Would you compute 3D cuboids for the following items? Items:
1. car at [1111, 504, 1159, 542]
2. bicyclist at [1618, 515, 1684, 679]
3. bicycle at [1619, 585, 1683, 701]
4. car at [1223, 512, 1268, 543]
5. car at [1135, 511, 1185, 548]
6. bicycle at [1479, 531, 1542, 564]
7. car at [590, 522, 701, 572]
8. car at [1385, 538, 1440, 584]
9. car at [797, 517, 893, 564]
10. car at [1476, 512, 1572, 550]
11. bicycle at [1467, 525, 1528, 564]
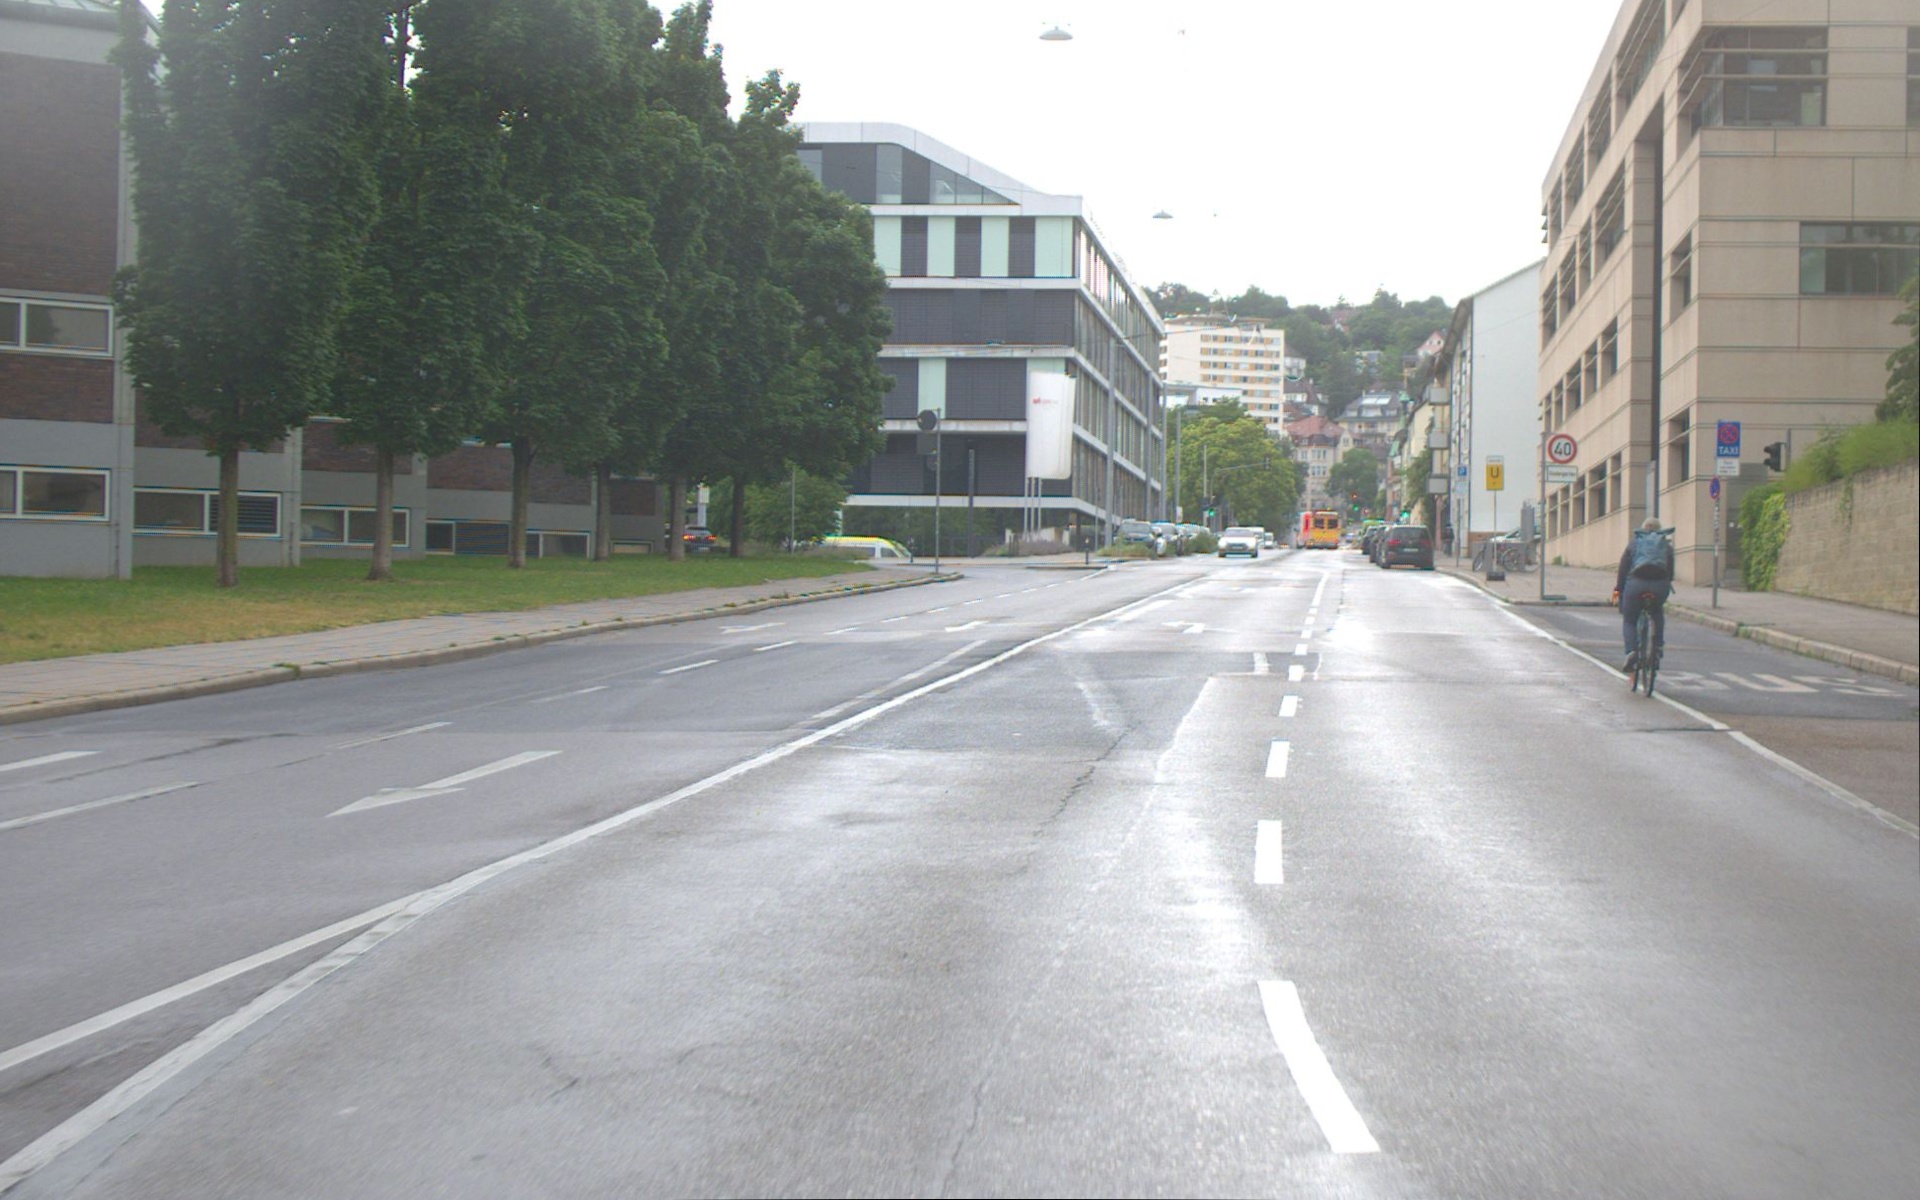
[{"bbox_3d":[7.926,-3.463,155.550,1.850,1.612,4.490,2,1,6],"label":"car"},{"bbox_3d":[6.163,-0.028,30.705,0.484,1.428,0.930,2,1,8],"label":"bicyclist"},{"bbox_3d":[6.165,0.368,30.714,0.447,0.960,1.689,1,2,8],"label":"bicycle"},{"bbox_3d":[14.520,-3.695,174.682,1.882,1.486,5.218,-1,1,9],"label":"car"},{"bbox_3d":[10.043,-3.515,172.260,1.963,1.744,4.940,2,1,9],"label":"car"},{"bbox_3d":[16.396,-1.569,102.386,1.759,0.950,0.660,1,1,3],"label":"bicycle"},{"bbox_3d":[-12.376,-2.075,135.392,3.906,1.809,1.934,2,1,9],"label":"car"},{"bbox_3d":[16.612,-1.441,126.312,1.771,1.598,4.394,2,1,5],"label":"car"},{"bbox_3d":[-5.676,-2.943,169.580,4.590,2.167,1.931,2,1,1],"label":"car"},{"bbox_3d":[27.347,-3.331,166.722,4.439,1.707,1.904,-2,0,6],"label":"car"},{"bbox_3d":[16.153,-1.669,103.400,1.729,1.115,0.660,1,1,1],"label":"bicycle"}]
